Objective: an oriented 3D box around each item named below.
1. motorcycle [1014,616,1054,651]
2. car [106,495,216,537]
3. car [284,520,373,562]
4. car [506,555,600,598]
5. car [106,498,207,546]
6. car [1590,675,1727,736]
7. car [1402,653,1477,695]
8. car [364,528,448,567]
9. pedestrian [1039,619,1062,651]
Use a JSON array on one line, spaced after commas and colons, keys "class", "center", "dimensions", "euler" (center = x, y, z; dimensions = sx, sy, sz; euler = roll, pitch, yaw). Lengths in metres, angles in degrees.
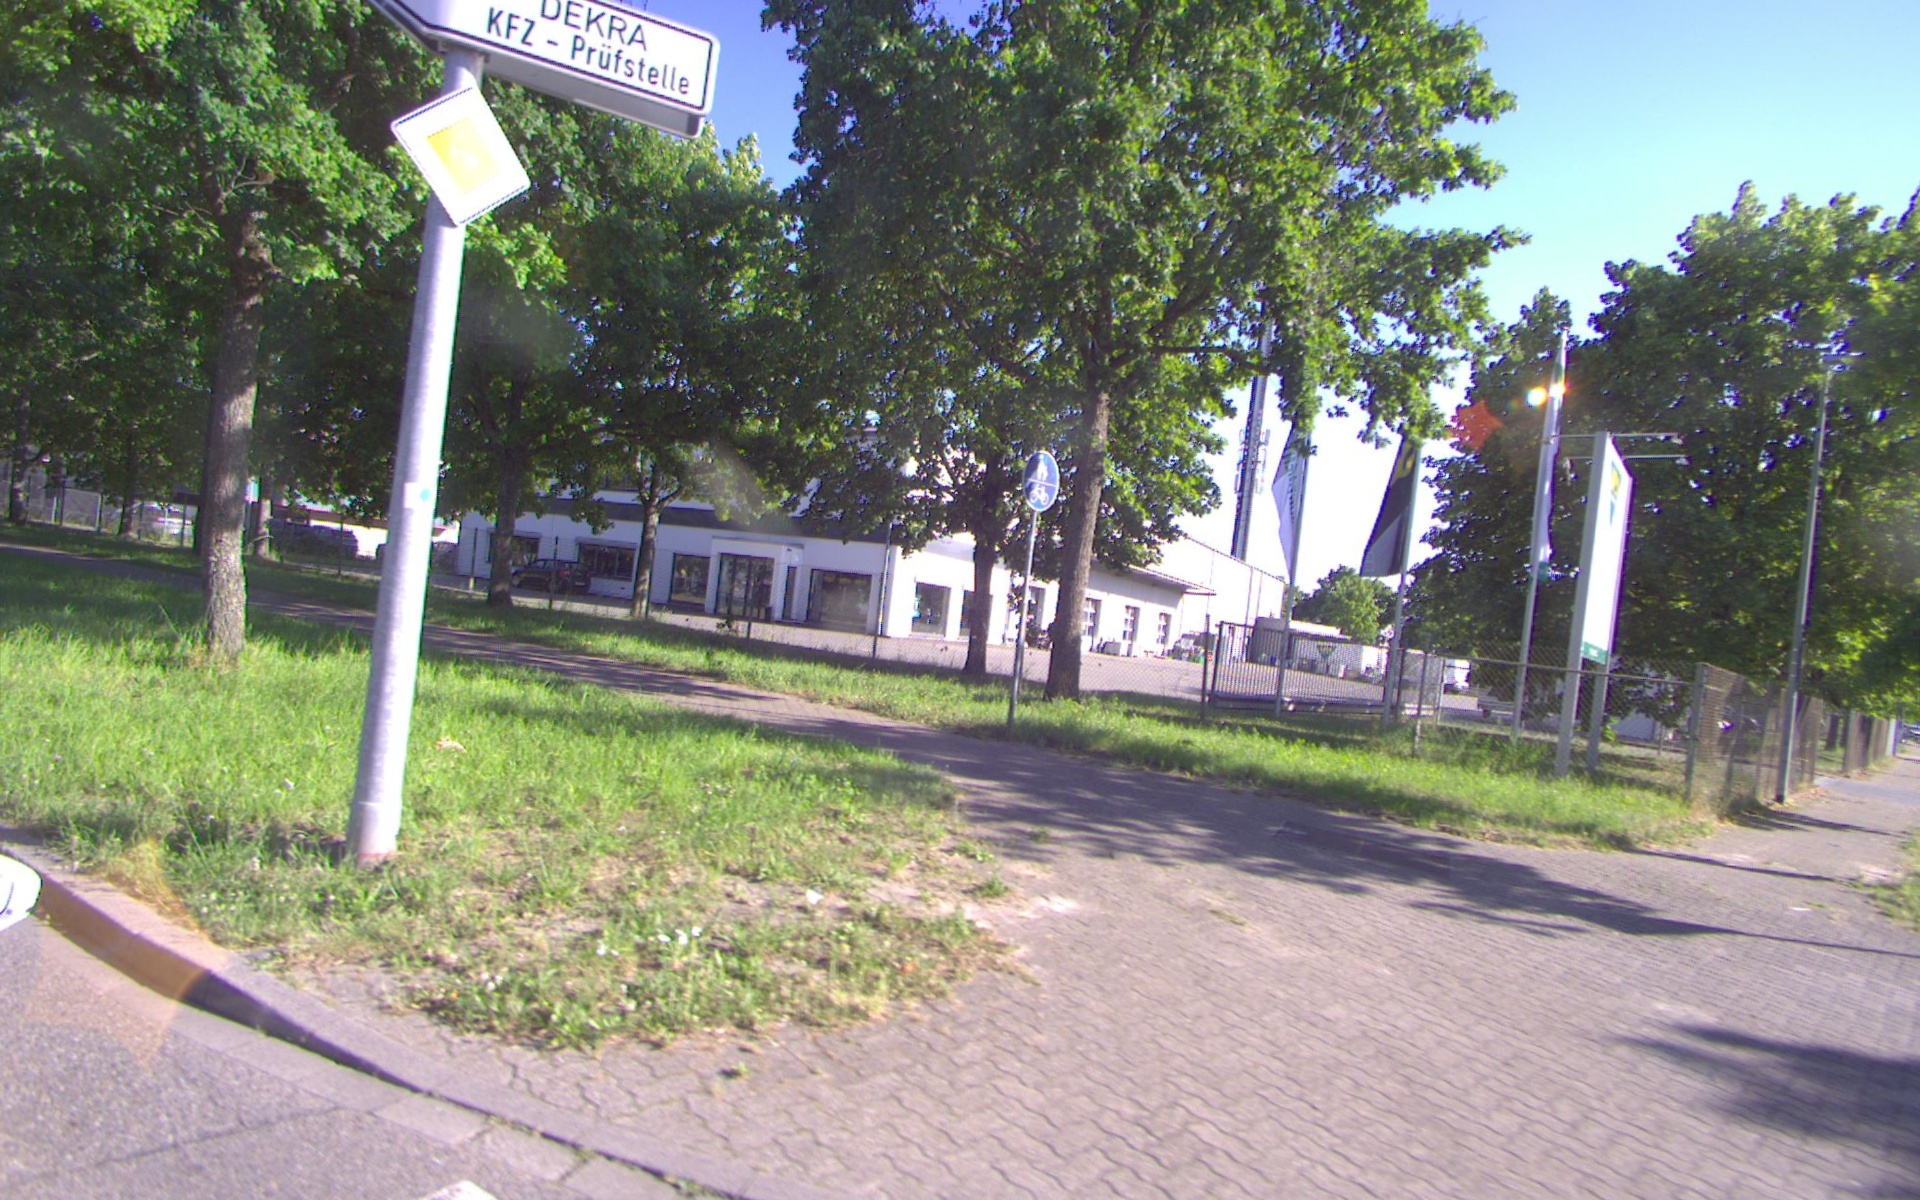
[{"class": "motorcycle", "center": [3.583, 1.632, 48.769], "dimensions": [1.979, 1.450, 0.649], "euler": [7, 0, -44]}, {"class": "car", "center": [-48.219, -5.054, 60.795], "dimensions": [2.152, 1.765, 4.639], "euler": [7, 0, 24]}, {"class": "car", "center": [-35.674, -3.326, 56.850], "dimensions": [4.561, 1.766, 2.188], "euler": [7, 0, 28]}, {"class": "car", "center": [-17.986, -1.028, 44.419], "dimensions": [3.702, 1.401, 1.768], "euler": [7, 0, 28]}, {"class": "car", "center": [-39.489, -3.821, 49.424], "dimensions": [4.561, 1.766, 2.188], "euler": [7, 0, 28]}, {"class": "car", "center": [31.627, 4.741, 45.621], "dimensions": [1.988, 2.011, 4.675], "euler": [7, 0, -45]}, {"class": "car", "center": [38.368, 5.895, 80.665], "dimensions": [2.143, 2.731, 4.814], "euler": [7, 0, -29]}, {"class": "car", "center": [-33.515, -3.153, 60.829], "dimensions": [4.561, 1.766, 2.188], "euler": [7, 0, 28]}, {"class": "pedestrian", "center": [4.389, 1.706, 48.672], "dimensions": [0.708, 1.451, 0.748], "euler": [7, 1, 30]}]
